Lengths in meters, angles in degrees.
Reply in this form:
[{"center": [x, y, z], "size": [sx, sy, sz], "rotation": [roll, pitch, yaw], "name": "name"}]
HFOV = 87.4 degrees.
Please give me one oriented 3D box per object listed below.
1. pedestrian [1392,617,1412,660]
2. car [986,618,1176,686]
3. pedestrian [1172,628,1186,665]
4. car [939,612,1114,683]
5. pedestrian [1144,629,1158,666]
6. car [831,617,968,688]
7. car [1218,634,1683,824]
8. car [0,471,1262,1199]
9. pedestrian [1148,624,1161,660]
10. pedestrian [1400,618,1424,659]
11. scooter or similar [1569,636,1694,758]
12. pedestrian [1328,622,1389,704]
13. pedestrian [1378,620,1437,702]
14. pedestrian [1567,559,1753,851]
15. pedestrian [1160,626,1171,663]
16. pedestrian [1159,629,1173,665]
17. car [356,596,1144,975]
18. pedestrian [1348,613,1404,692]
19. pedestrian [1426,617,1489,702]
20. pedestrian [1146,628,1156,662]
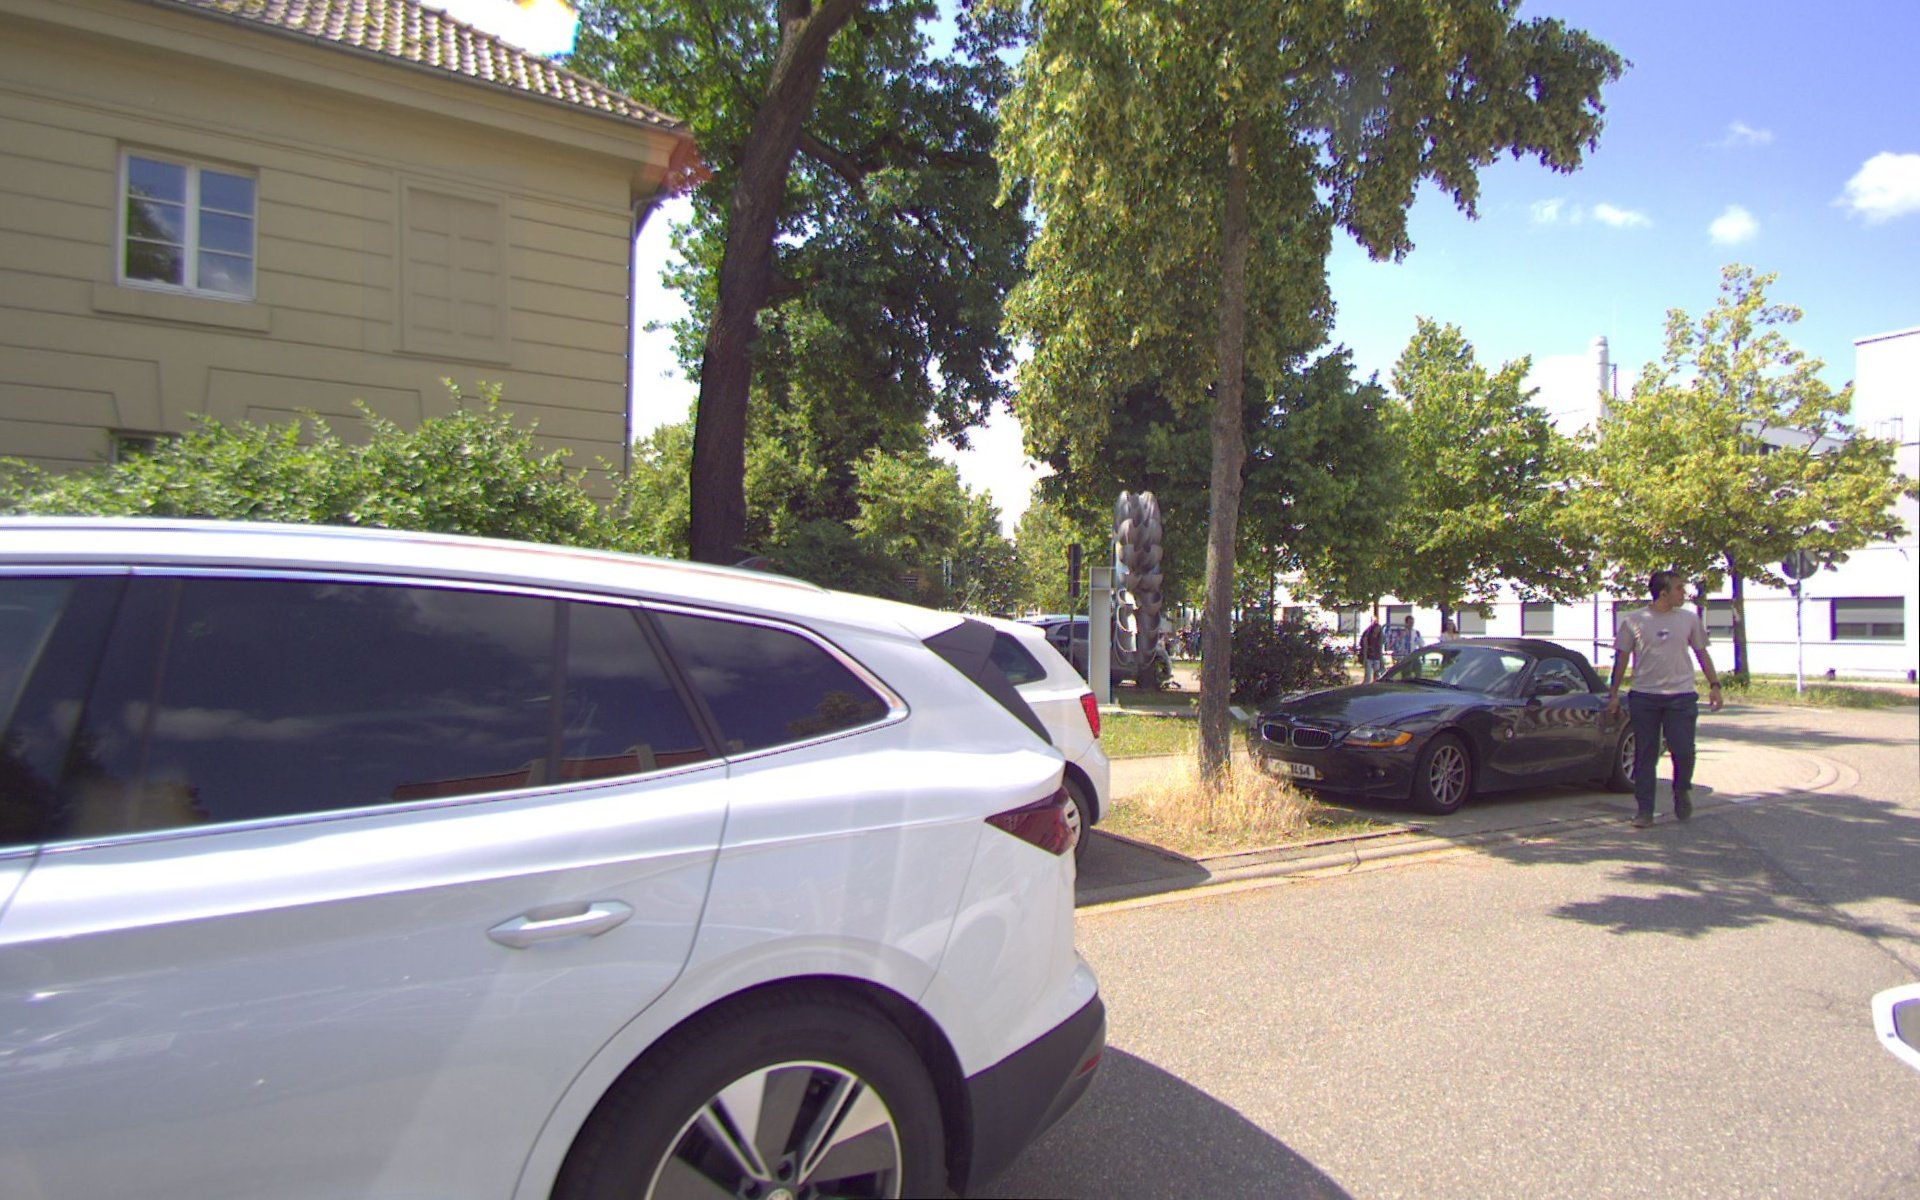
[{"center": [18.892, 1.644, 42.946], "size": [0.579, 1.788, 0.549], "rotation": [1, -1, -28], "name": "pedestrian"}, {"center": [3.029, 1.290, 24.945], "size": [4.387, 1.536, 1.920], "rotation": [0, -4, -29], "name": "car"}, {"center": [12.114, 2.554, 55.489], "size": [0.677, 2.040, 0.684], "rotation": [1, -1, 18], "name": "pedestrian"}, {"center": [1.834, 1.273, 27.284], "size": [4.387, 1.791, 1.920], "rotation": [0, -4, -29], "name": "car"}, {"center": [10.803, 2.694, 56.851], "size": [0.677, 2.040, 0.684], "rotation": [1, -1, 18], "name": "pedestrian"}, {"center": [-2.102, 1.819, 35.192], "size": [4.387, 2.320, 1.920], "rotation": [0, -4, -29], "name": "car"}, {"center": [4.261, 0.958, 8.653], "size": [3.878, 1.318, 1.639], "rotation": [1, -2, -28], "name": "car"}, {"center": [-1.713, 0.627, 2.121], "size": [4.467, 1.640, 1.909], "rotation": [2, 1, -30], "name": "car"}, {"center": [11.179, 2.408, 57.742], "size": [0.599, 2.040, 0.661], "rotation": [1, -1, 18], "name": "pedestrian"}, {"center": [19.469, 1.655, 43.242], "size": [0.628, 1.772, 0.690], "rotation": [1, -1, -28], "name": "pedestrian"}, {"center": [7.609, 1.075, 11.383], "size": [1.196, 1.316, 0.504], "rotation": [0, -2, -17], "name": "scooter or similar"}, {"center": [8.638, 1.347, 21.804], "size": [0.840, 1.731, 0.851], "rotation": [-1, -1, -16], "name": "pedestrian"}, {"center": [9.683, 1.310, 21.772], "size": [0.838, 1.731, 0.853], "rotation": [-1, -1, -4], "name": "pedestrian"}, {"center": [5.199, 0.711, 7.440], "size": [1.003, 1.928, 1.173], "rotation": [1, -1, 41], "name": "pedestrian"}, {"center": [11.565, 2.504, 56.539], "size": [0.528, 2.040, 0.495], "rotation": [1, -1, 18], "name": "pedestrian"}, {"center": [11.767, 2.689, 57.358], "size": [0.677, 2.040, 0.684], "rotation": [1, -1, 18], "name": "pedestrian"}, {"center": [-1.013, 0.730, 5.432], "size": [3.761, 1.430, 1.655], "rotation": [1, 0, -29], "name": "car"}, {"center": [9.630, 1.206, 23.260], "size": [0.839, 1.774, 0.853], "rotation": [-1, -1, -8], "name": "pedestrian"}, {"center": [10.469, 1.231, 21.160], "size": [0.838, 1.731, 0.853], "rotation": [-1, -1, -4], "name": "pedestrian"}, {"center": [11.515, 2.716, 60.537], "size": [0.528, 2.040, 0.495], "rotation": [1, -1, 18], "name": "pedestrian"}]
